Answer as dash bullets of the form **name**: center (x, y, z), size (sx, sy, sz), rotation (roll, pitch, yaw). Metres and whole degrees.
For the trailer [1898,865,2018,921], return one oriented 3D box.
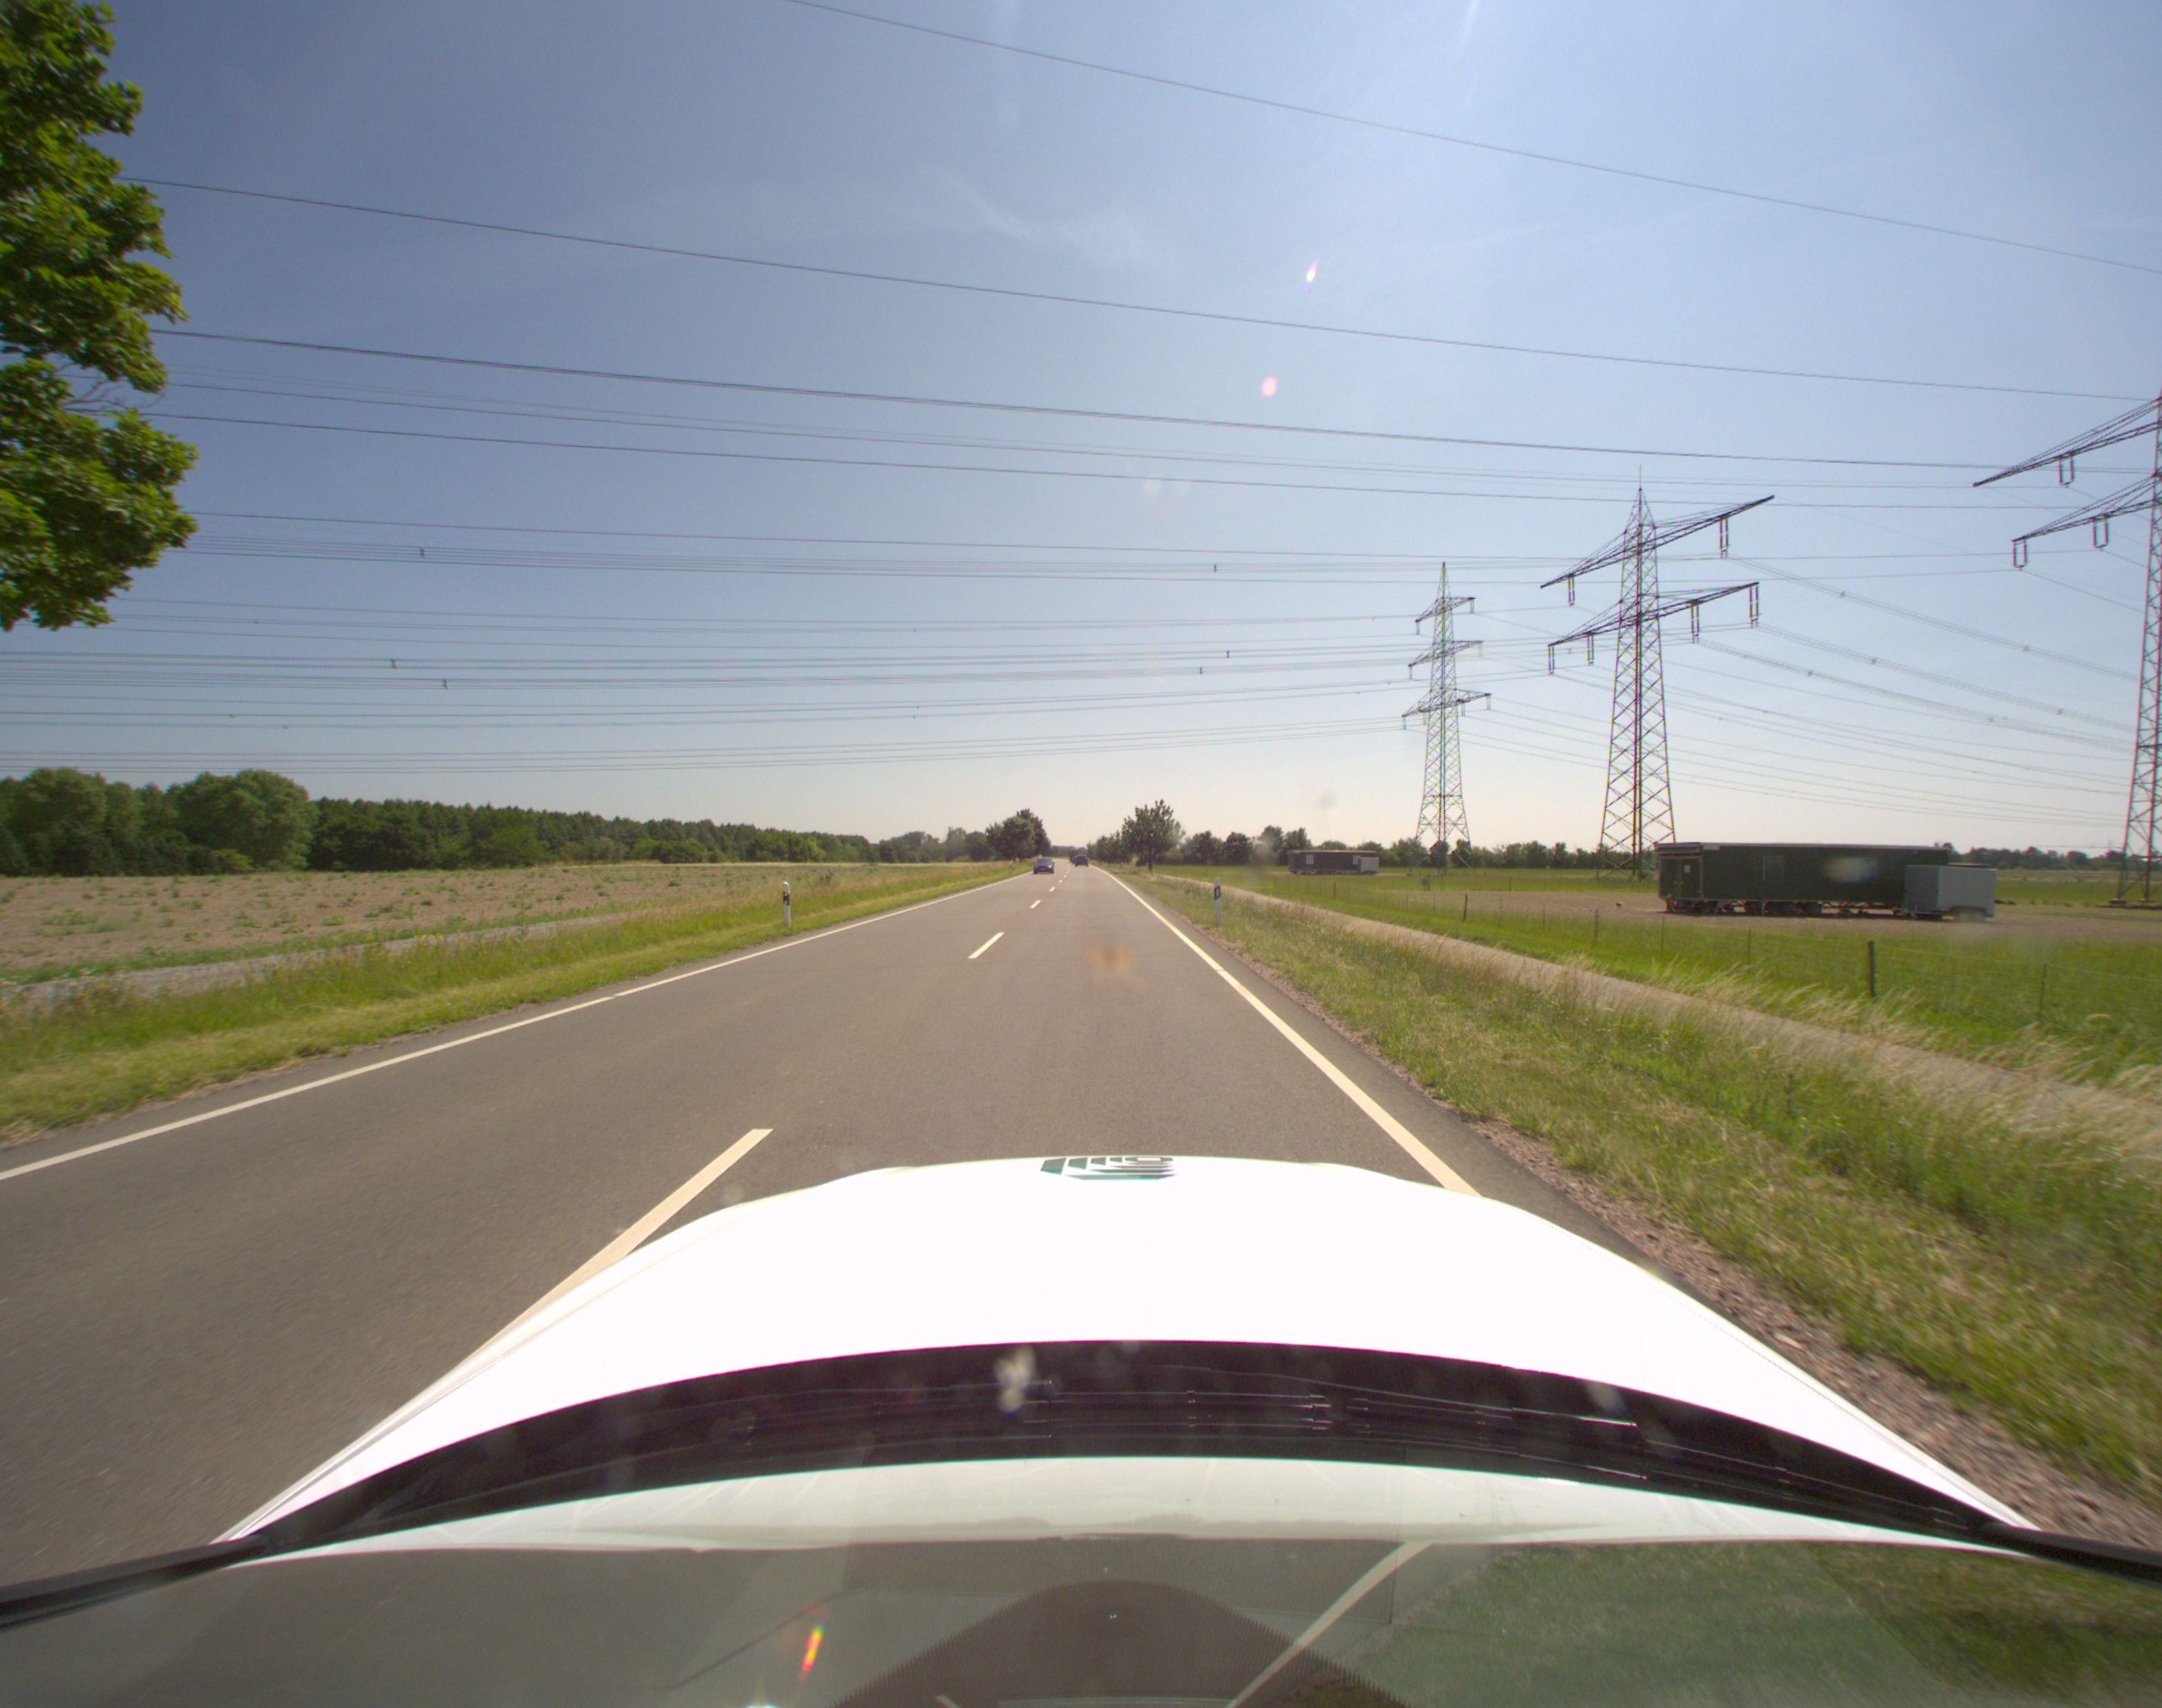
- **trailer**: center (40.172, 1.753, 37.362), size (3.397, 2.462, 2.037), rotation (1, 0, -1)

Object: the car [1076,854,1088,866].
- **car**: center (0.084, 0.915, 118.924), size (1.710, 1.694, 3.987), rotation (0, -1, -1)

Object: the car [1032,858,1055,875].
- **car**: center (-3.343, 1.143, 73.137), size (1.728, 1.447, 4.001), rotation (0, -1, 1)

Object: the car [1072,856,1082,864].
- **car**: center (-0.818, 1.177, 153.971), size (1.845, 1.523, 3.998), rotation (0, -1, -1)

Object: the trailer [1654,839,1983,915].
- **trailer**: center (36.014, 1.090, 40.103), size (13.468, 3.475, 3.275), rotation (1, 0, -1)

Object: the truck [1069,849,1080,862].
- **truck**: center (-1.590, 0.399, 193.772), size (2.364, 3.140, 8.740), rotation (0, -1, -2)

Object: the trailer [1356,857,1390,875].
- **trailer**: center (41.005, 1.649, 114.499), size (3.979, 2.443, 1.997), rotation (1, 0, -4)

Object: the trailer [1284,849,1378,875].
- **trailer**: center (35.936, 1.117, 117.369), size (12.379, 3.473, 3.802), rotation (1, 0, -2)
